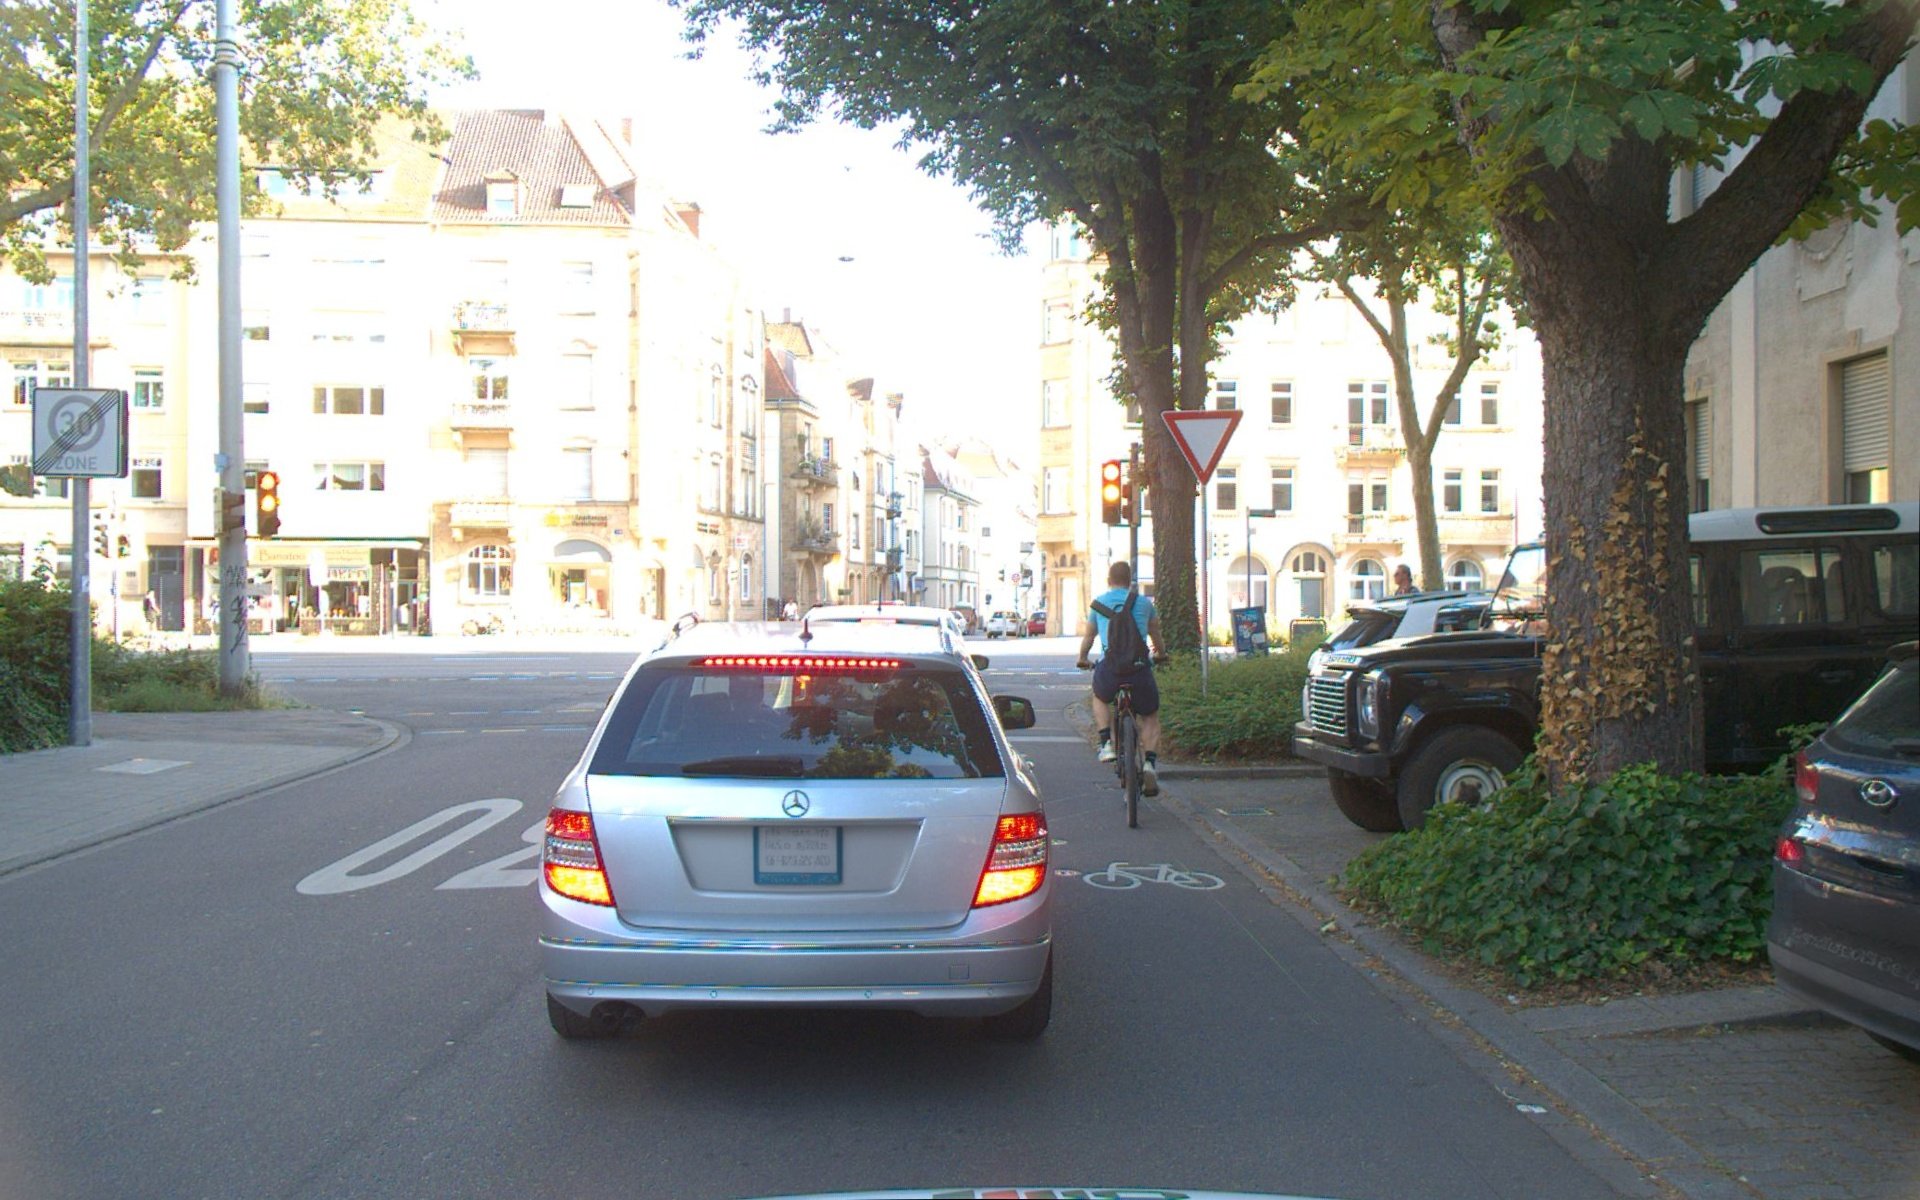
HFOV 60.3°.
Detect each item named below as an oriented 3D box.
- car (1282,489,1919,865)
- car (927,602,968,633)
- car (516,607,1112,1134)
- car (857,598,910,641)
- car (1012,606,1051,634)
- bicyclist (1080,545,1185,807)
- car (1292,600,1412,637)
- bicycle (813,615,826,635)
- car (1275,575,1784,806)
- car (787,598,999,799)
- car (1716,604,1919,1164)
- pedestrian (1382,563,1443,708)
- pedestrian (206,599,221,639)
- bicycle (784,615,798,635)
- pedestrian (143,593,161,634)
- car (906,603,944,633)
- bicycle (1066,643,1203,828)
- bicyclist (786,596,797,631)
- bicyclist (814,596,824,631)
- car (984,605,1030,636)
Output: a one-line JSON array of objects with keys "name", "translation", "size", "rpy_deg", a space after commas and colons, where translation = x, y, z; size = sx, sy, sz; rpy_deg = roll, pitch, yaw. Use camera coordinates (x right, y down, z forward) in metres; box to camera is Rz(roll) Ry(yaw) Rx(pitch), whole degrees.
[{"name": "car", "translation": [4.416, 0.398, 10.237], "size": [4.402, 1.990, 1.791], "rpy_deg": [-2, 0, -4]}, {"name": "car", "translation": [-0.689, 0.989, 95.519], "size": [1.650, 1.753, 4.003], "rpy_deg": [0, 0, 10]}, {"name": "car", "translation": [-0.503, 0.780, 6.431], "size": [1.657, 1.454, 3.490], "rpy_deg": [1, 0, -3]}, {"name": "car", "translation": [-3.650, 0.929, 79.730], "size": [1.896, 1.993, 4.153], "rpy_deg": [0, 0, 7]}, {"name": "car", "translation": [4.429, 1.202, 102.130], "size": [1.684, 1.503, 4.004], "rpy_deg": [-4, 0, 11]}, {"name": "bicyclist", "translation": [1.232, 0.530, 11.909], "size": [0.633, 1.806, 0.830], "rpy_deg": [1, -1, -1]}, {"name": "car", "translation": [11.837, 0.564, 50.028], "size": [3.296, 1.087, 1.380], "rpy_deg": [0, 0, -2]}, {"name": "bicycle", "translation": [-6.236, 1.114, 73.288], "size": [0.557, 0.849, 1.564], "rpy_deg": [0, 0, -4]}, {"name": "car", "translation": [4.435, 0.655, 13.159], "size": [3.415, 1.614, 1.708], "rpy_deg": [-1, 0, -7]}, {"name": "car", "translation": [-0.546, 0.703, 13.603], "size": [1.502, 1.415, 3.597], "rpy_deg": [0, 0, -2]}, {"name": "car", "translation": [4.302, 0.686, 4.556], "size": [3.675, 1.446, 1.627], "rpy_deg": [-2, -1, -4]}, {"name": "pedestrian", "translation": [5.963, 0.462, 21.830], "size": [0.619, 1.877, 0.574], "rpy_deg": [0, 0, -5]}, {"name": "pedestrian", "translation": [-28.844, 0.712, 63.926], "size": [0.502, 1.537, 0.532], "rpy_deg": [0, 0, -24]}, {"name": "bicycle", "translation": [-7.473, 1.112, 73.209], "size": [0.557, 0.849, 1.564], "rpy_deg": [0, 0, -4]}, {"name": "pedestrian", "translation": [-30.596, 0.510, 62.634], "size": [0.557, 1.537, 0.499], "rpy_deg": [0, 0, -20]}, {"name": "car", "translation": [-2.134, 1.106, 102.296], "size": [1.615, 1.814, 3.866], "rpy_deg": [0, -1, 10]}, {"name": "bicycle", "translation": [1.208, 0.915, 11.856], "size": [0.727, 1.137, 2.013], "rpy_deg": [1, 0, -1]}, {"name": "bicyclist", "translation": [-7.455, 0.577, 73.244], "size": [0.457, 1.541, 0.655], "rpy_deg": [0, 0, -4]}, {"name": "bicyclist", "translation": [-6.253, 0.580, 73.294], "size": [0.457, 1.547, 0.693], "rpy_deg": [0, 0, -4]}, {"name": "car", "translation": [2.488, 1.045, 85.934], "size": [1.684, 1.504, 4.004], "rpy_deg": [-2, 0, 11]}]
